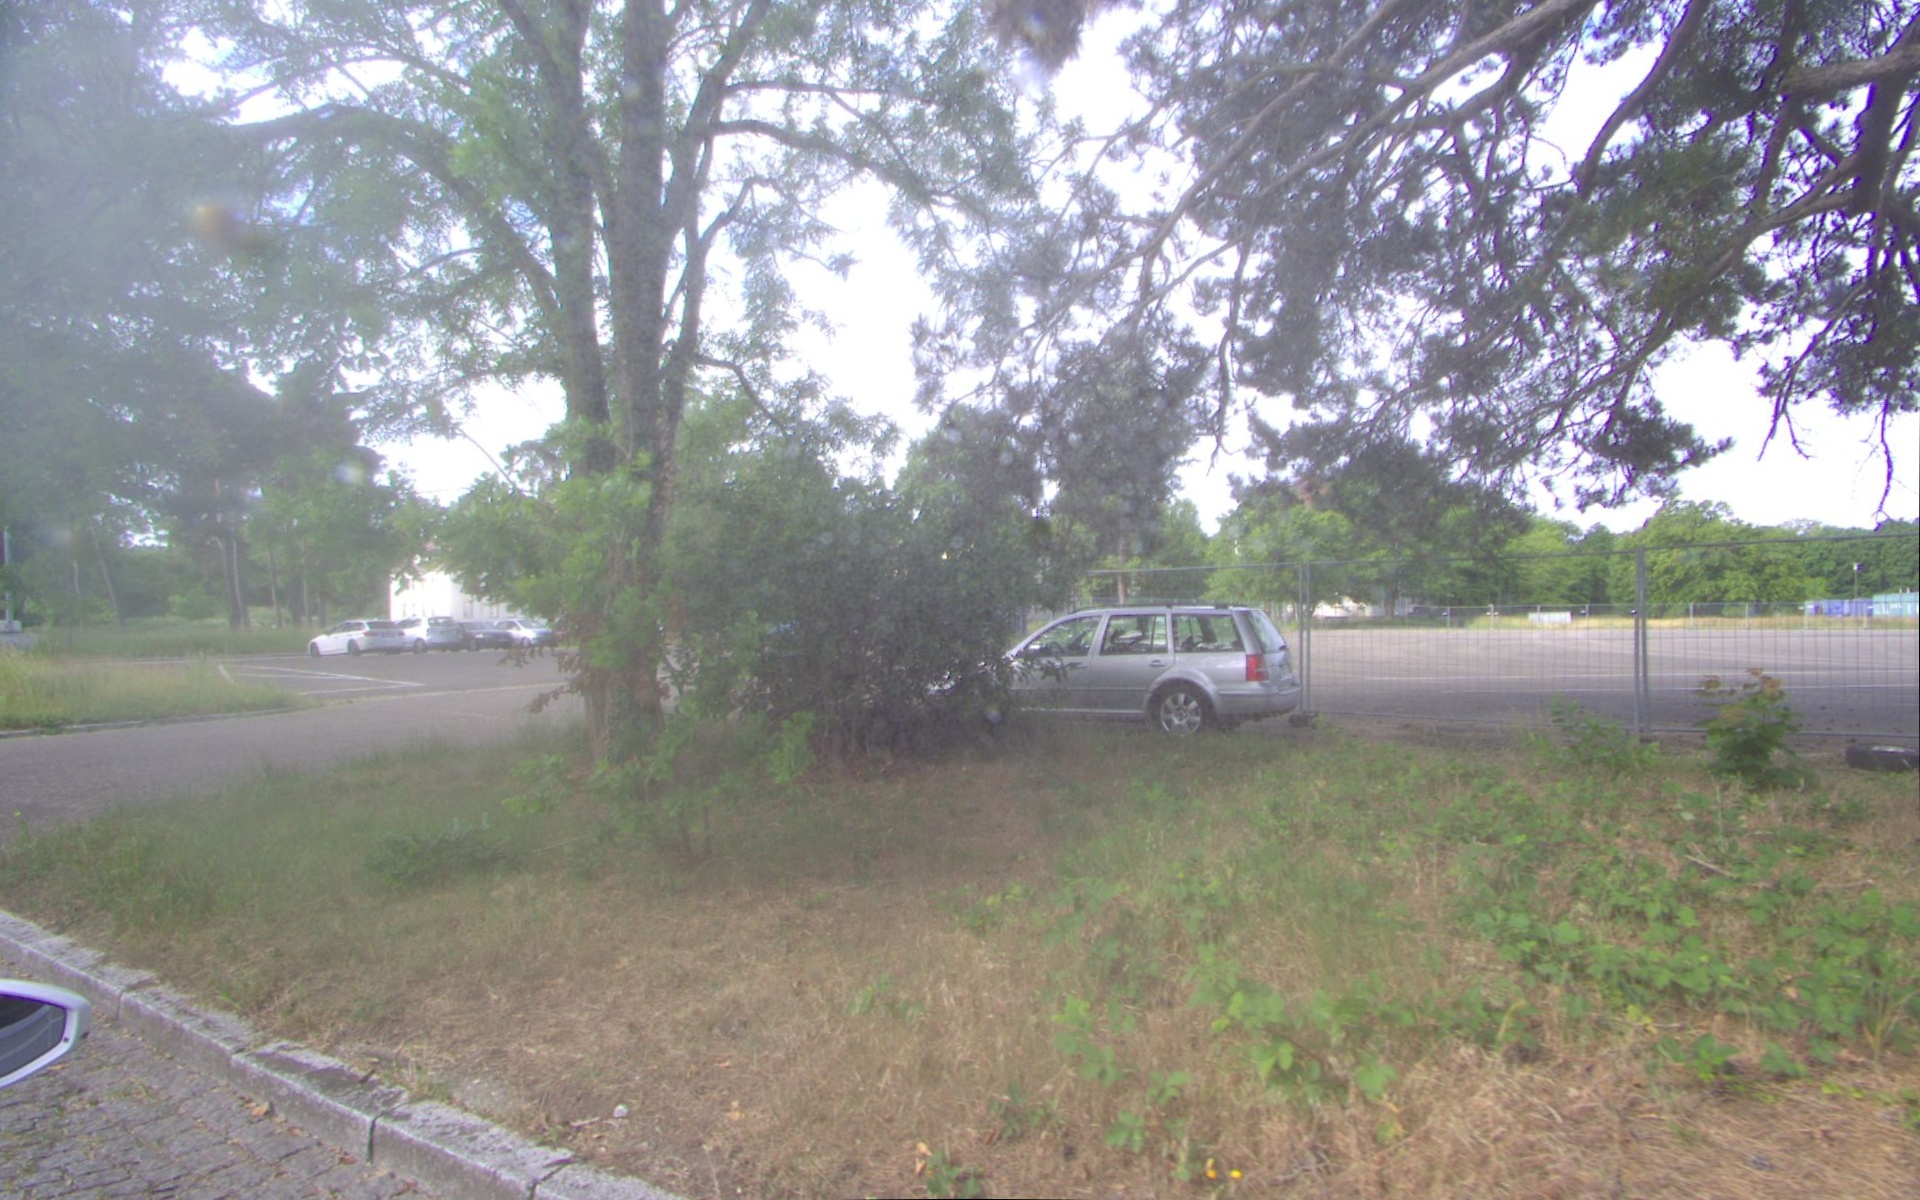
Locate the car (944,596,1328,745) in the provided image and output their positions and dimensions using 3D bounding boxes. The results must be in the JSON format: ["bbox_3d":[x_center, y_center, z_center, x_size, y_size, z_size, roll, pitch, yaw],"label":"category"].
[{"bbox_3d":[1.954,0.759,11.462,4.014,1.444,1.645,-1,-3,31],"label":"car"}]

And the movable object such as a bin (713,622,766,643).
[{"bbox_3d":[-9.045,1.329,41.090,1.928,0.836,1.181,-1,-1,37],"label":"movable object such as a bin"}]

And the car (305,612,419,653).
[{"bbox_3d":[-23.989,1.314,40.148,4.359,1.500,1.991,-2,-1,29],"label":"car"}]

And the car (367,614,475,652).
[{"bbox_3d":[-22.807,1.403,42.376,4.359,1.500,1.991,-2,-1,29],"label":"car"}]

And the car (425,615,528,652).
[{"bbox_3d":[-21.639,1.500,44.792,4.359,1.500,1.991,-2,-1,29],"label":"car"}]

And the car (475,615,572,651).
[{"bbox_3d":[-20.624,1.580,47.307,4.359,1.542,1.992,-2,-3,29],"label":"car"}]
